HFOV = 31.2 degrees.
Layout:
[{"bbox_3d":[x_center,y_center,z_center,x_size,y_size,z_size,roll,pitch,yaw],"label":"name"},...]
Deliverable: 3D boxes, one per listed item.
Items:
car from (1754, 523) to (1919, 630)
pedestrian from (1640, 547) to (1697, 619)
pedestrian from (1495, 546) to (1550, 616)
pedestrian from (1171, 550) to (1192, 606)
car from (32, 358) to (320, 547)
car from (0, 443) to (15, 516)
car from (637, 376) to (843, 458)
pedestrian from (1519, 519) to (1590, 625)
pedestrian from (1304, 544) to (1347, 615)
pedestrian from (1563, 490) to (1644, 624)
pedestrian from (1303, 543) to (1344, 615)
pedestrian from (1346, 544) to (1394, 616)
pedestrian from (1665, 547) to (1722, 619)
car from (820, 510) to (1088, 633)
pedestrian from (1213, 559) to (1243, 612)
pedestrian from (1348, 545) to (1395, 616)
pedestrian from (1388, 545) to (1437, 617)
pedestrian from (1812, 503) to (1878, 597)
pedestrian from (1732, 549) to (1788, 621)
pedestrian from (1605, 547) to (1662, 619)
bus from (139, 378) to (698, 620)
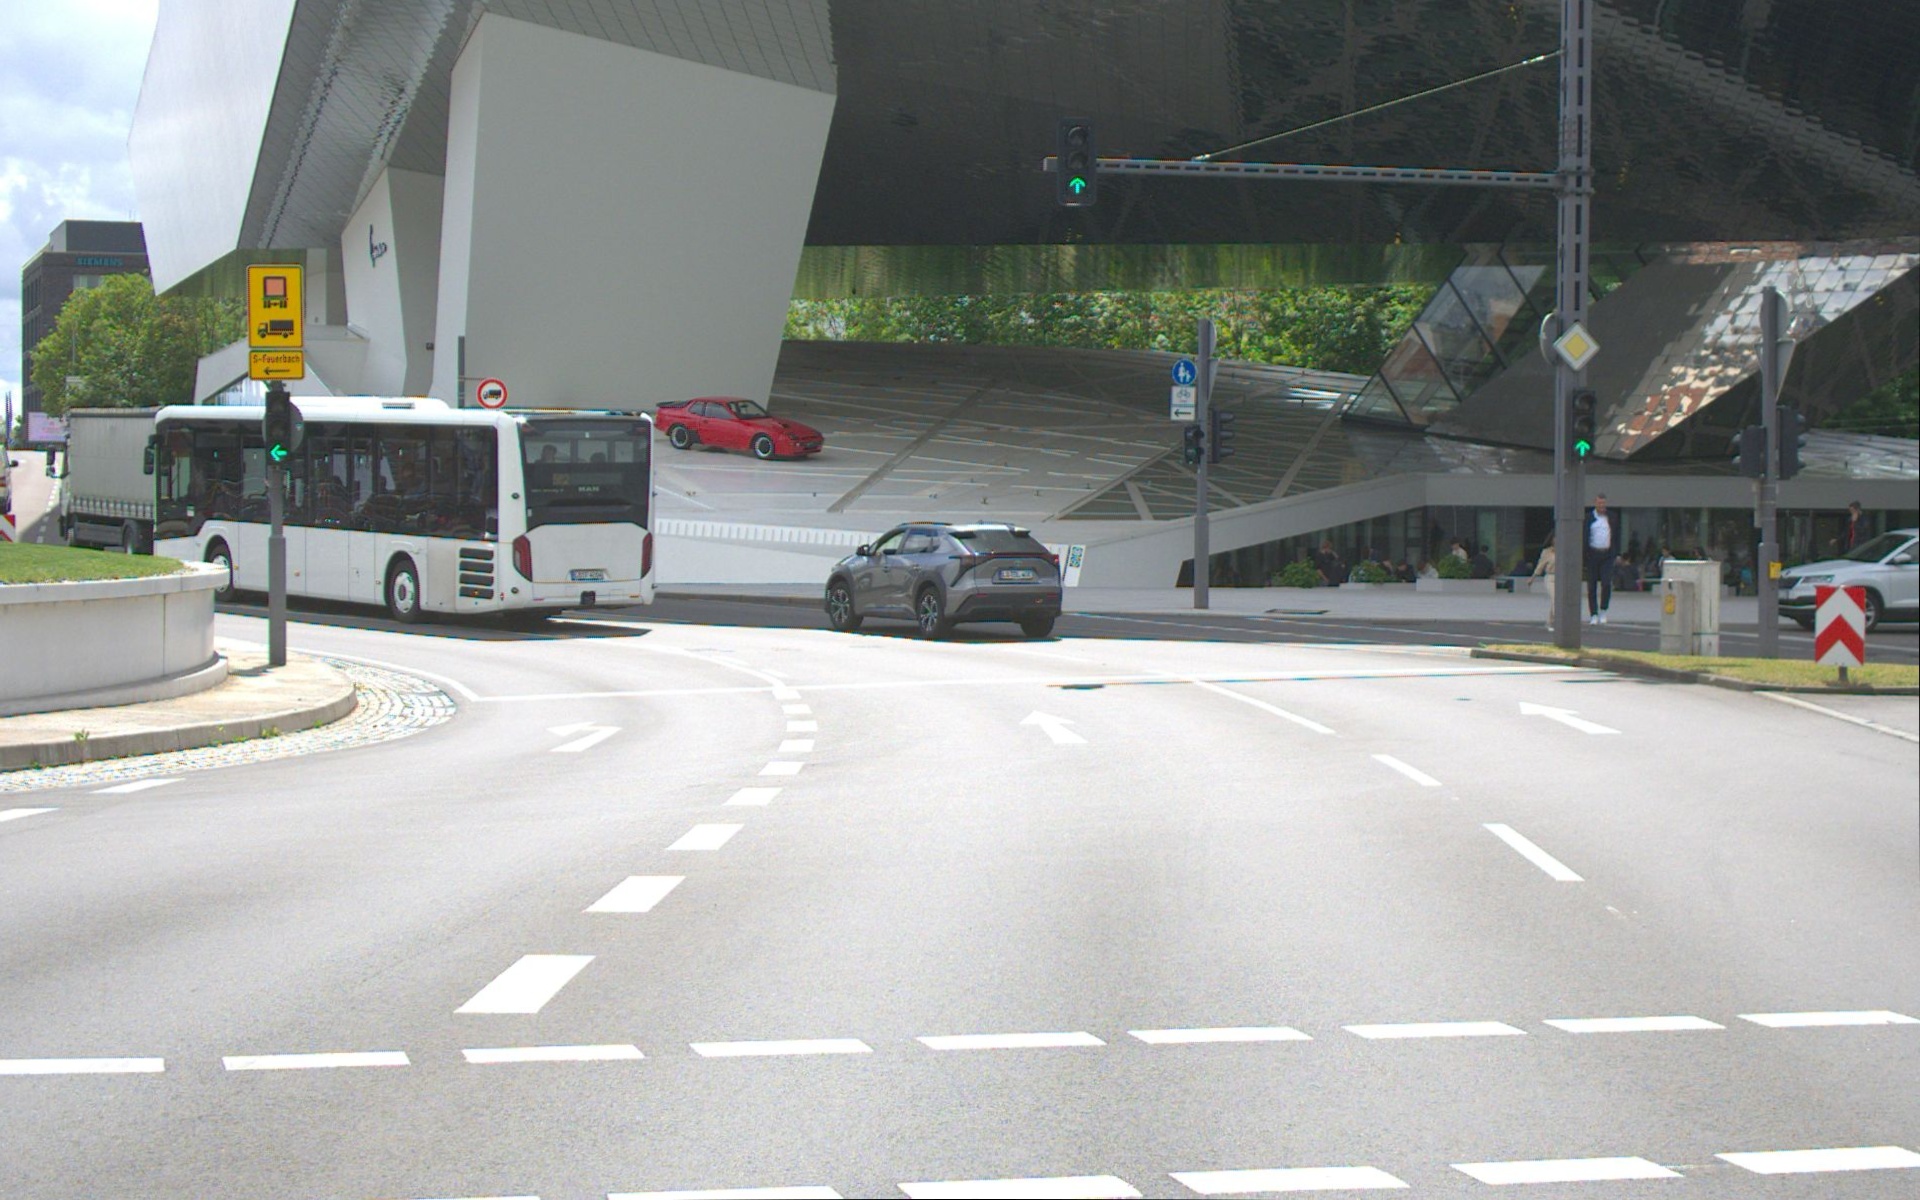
[{"bbox_3d":[14.150,-0.363,51.500,3.986,1.544,1.839,-1,0,-8],"label":"car"},{"bbox_3d":[15.842,-0.380,76.887,0.827,1.567,0.923,1,0,-23],"label":"pedestrian"},{"bbox_3d":[12.663,-0.430,77.410,0.827,1.567,0.923,1,0,-23],"label":"pedestrian"},{"bbox_3d":[5.017,-0.491,77.725,0.394,1.249,0.400,1,0,-4],"label":"pedestrian"},{"bbox_3d":[-16.196,-2.882,70.407,3.335,3.492,9.343,1,0,-28],"label":"car"},{"bbox_3d":[-26.986,-3.300,94.183,1.993,1.897,4.001,1,0,-16],"label":"car"},{"bbox_3d":[-5.228,-4.358,81.580,4.506,1.390,1.997,9,9,32],"label":"car"},{"bbox_3d":[8.550,-0.405,49.440,0.771,1.491,0.581,1,0,43],"label":"pedestrian"},{"bbox_3d":[8.214,-0.463,77.280,0.828,1.567,0.923,1,0,13],"label":"pedestrian"},{"bbox_3d":[9.761,-0.668,52.189,0.953,1.978,1.381,1,2,2],"label":"pedestrian"},{"bbox_3d":[8.059,-0.456,76.149,0.828,1.567,0.923,1,0,8],"label":"pedestrian"},{"bbox_3d":[9.039,-0.440,75.785,0.921,1.567,0.830,1,0,12],"label":"pedestrian"},{"bbox_3d":[16.220,-0.376,76.018,0.827,1.567,0.923,1,0,-23],"label":"pedestrian"},{"bbox_3d":[-0.131,-0.407,48.867,1.993,1.631,4.000,1,0,-31],"label":"car"},{"bbox_3d":[6.417,-0.353,82.214,0.561,1.249,0.473,1,0,26],"label":"pedestrian"},{"bbox_3d":[9.219,-0.437,76.959,0.921,1.567,0.830,1,0,13],"label":"pedestrian"},{"bbox_3d":[10.050,-0.415,76.379,0.795,1.567,0.692,1,0,37],"label":"pedestrian"},{"bbox_3d":[17.550,-0.986,68.199,0.827,1.820,0.923,1,0,-23],"label":"pedestrian"},{"bbox_3d":[17.840,-0.335,76.635,0.827,1.567,0.924,1,0,-17],"label":"pedestrian"},{"bbox_3d":[14.905,-0.378,76.136,0.827,1.567,0.923,1,0,-23],"label":"pedestrian"},{"bbox_3d":[-8.832,-1.509,54.069,3.072,3.351,12.220,1,0,-38],"label":"bus"}]
